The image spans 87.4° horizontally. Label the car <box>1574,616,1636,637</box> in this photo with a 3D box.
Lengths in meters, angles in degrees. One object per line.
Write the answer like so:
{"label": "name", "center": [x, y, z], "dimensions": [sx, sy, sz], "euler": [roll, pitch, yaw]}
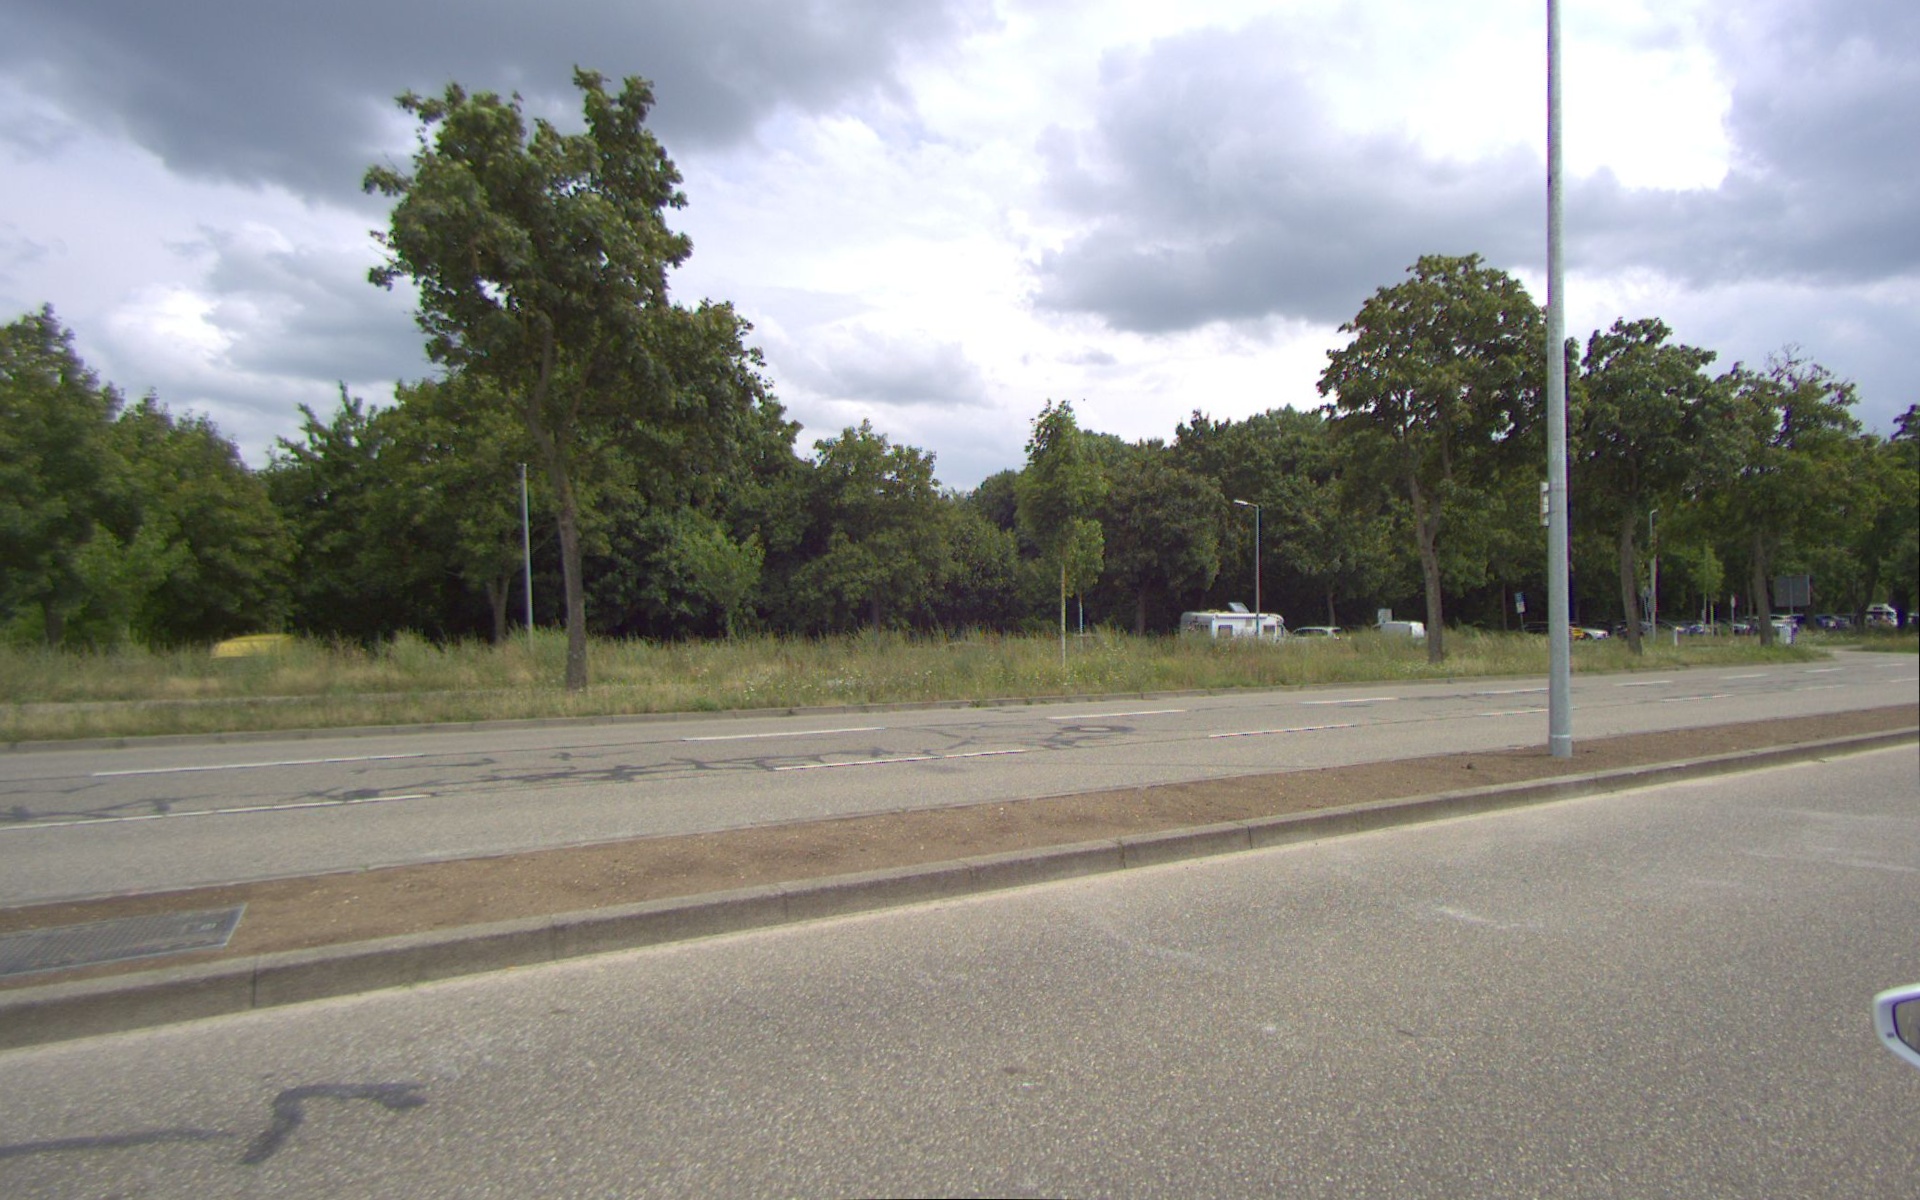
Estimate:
{"label": "car", "center": [47.792, 1.950, 74.493], "dimensions": [1.499, 1.430, 3.633], "euler": [-1, 0, -29]}

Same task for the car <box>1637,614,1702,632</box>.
{"label": "car", "center": [58.331, 1.868, 82.632], "dimensions": [1.800, 1.378, 3.969], "euler": [-1, 0, -29]}

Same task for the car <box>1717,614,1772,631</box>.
{"label": "car", "center": [70.679, 1.984, 90.586], "dimensions": [1.499, 1.430, 3.633], "euler": [-1, 0, -29]}

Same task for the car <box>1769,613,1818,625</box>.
{"label": "car", "center": [80.134, 1.828, 96.634], "dimensions": [1.424, 1.108, 3.350], "euler": [-1, 0, -30]}

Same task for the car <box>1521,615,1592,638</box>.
{"label": "car", "center": [42.204, 1.847, 71.117], "dimensions": [1.764, 1.518, 3.968], "euler": [-1, 0, -30]}

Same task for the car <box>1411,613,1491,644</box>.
{"label": "car", "center": [30.049, 1.715, 61.570], "dimensions": [2.023, 1.736, 3.966], "euler": [-1, 0, -31]}

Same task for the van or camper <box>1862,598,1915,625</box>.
{"label": "van or camper", "center": [102.117, 1.260, 110.505], "dimensions": [1.905, 2.793, 3.965], "euler": [-1, 0, -32]}

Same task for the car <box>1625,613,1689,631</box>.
{"label": "car", "center": [56.626, 1.767, 81.639], "dimensions": [1.647, 1.378, 3.969], "euler": [-1, 0, -29]}

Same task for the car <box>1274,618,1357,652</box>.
{"label": "car", "center": [19.227, 1.869, 54.509], "dimensions": [1.865, 1.739, 3.965], "euler": [-1, 0, -32]}

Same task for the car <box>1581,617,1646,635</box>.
{"label": "car", "center": [50.592, 1.977, 77.790], "dimensions": [1.546, 1.276, 3.967], "euler": [-1, 0, -31]}

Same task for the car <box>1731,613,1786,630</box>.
{"label": "car", "center": [72.894, 1.937, 91.770], "dimensions": [1.499, 1.430, 3.633], "euler": [-1, 0, -29]}

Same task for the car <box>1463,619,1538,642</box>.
{"label": "car", "center": [36.071, 2.007, 67.138], "dimensions": [1.976, 1.468, 3.969], "euler": [-1, 0, -29]}

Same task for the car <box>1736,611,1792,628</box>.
{"label": "car", "center": [74.878, 1.812, 93.592], "dimensions": [1.860, 1.539, 3.633], "euler": [-1, 0, -29]}

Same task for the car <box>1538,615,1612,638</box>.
{"label": "car", "center": [44.165, 1.889, 72.213], "dimensions": [1.863, 1.518, 4.161], "euler": [-1, 0, -30]}

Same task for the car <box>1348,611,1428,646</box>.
{"label": "car", "center": [25.112, 1.628, 59.000], "dimensions": [1.917, 1.912, 3.966], "euler": [-1, 0, -31]}

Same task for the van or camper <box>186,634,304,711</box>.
{"label": "van or camper", "center": [-22.278, 2.185, 31.505], "dimensions": [1.970, 2.041, 4.346], "euler": [1, 1, -21]}

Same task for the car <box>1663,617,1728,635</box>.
{"label": "car", "center": [61.734, 2.163, 84.329], "dimensions": [1.974, 1.429, 3.973], "euler": [-1, 0, -27]}

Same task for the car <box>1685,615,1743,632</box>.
{"label": "car", "center": [65.252, 2.048, 86.993], "dimensions": [1.687, 1.378, 3.629], "euler": [-1, 0, -29]}

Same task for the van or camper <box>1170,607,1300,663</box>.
{"label": "van or camper", "center": [13.965, 1.717, 50.850], "dimensions": [6.644, 2.575, 2.459], "euler": [-1, 0, -32]}

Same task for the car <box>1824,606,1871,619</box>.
{"label": "car", "center": [91.305, 1.267, 103.332], "dimensions": [1.424, 1.248, 3.350], "euler": [-1, 0, -30]}
